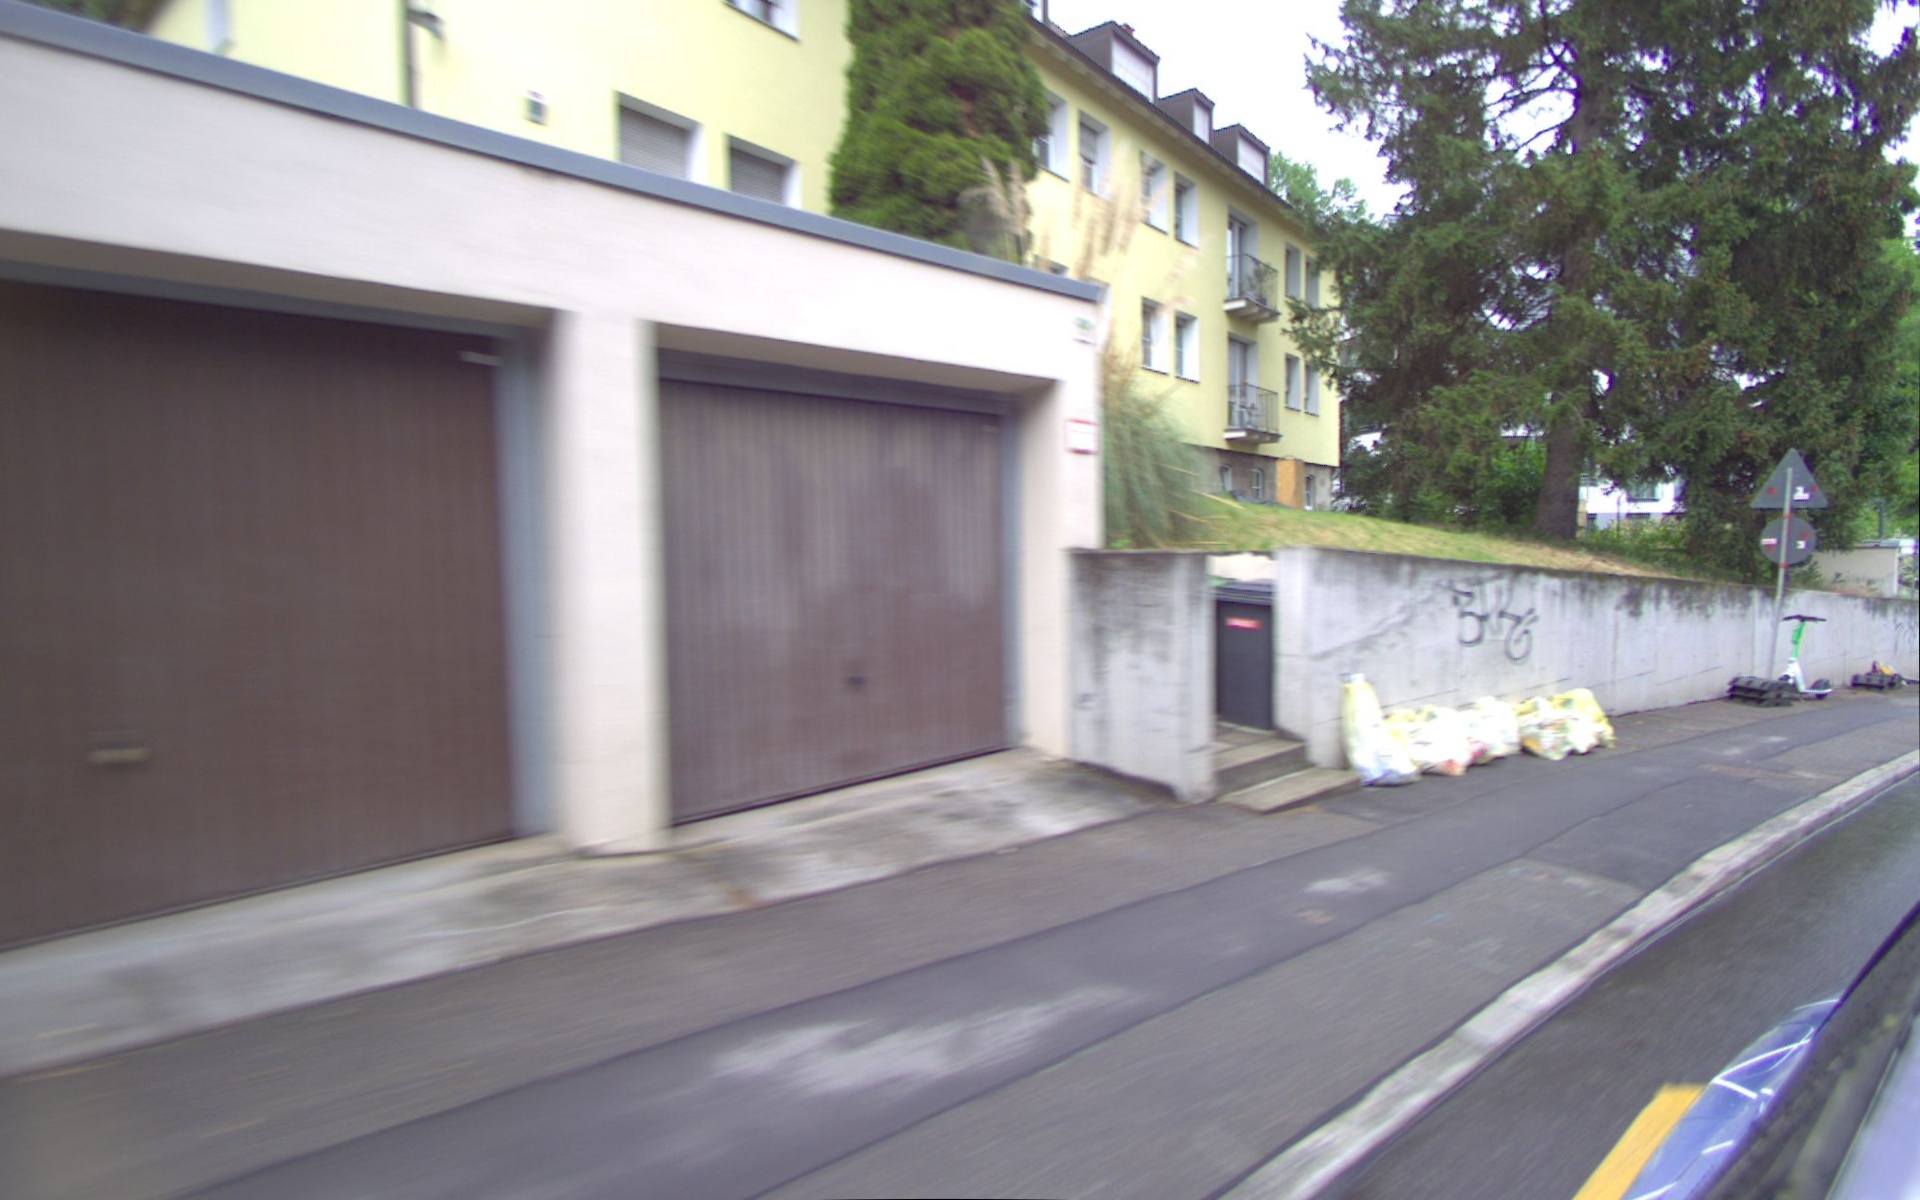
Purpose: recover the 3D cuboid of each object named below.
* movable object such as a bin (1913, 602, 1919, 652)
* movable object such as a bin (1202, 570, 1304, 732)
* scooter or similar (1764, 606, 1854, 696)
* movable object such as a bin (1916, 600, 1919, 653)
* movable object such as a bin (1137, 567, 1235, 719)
[{"bbox_3d":[25.054,0.704,26.110,0.445,1.283,0.564,1,2,-40],"label":"movable object such as a bin"},{"bbox_3d":[2.126,0.352,7.350,0.484,1.105,0.482,1,2,-41],"label":"movable object such as a bin"},{"bbox_3d":[11.719,0.686,13.965,1.344,1.146,0.600,1,2,-36],"label":"scooter or similar"},{"bbox_3d":[25.434,0.711,26.434,0.455,1.367,0.554,1,2,-40],"label":"movable object such as a bin"},{"bbox_3d":[1.740,0.317,7.797,0.511,1.105,0.479,1,2,-41],"label":"movable object such as a bin"}]
